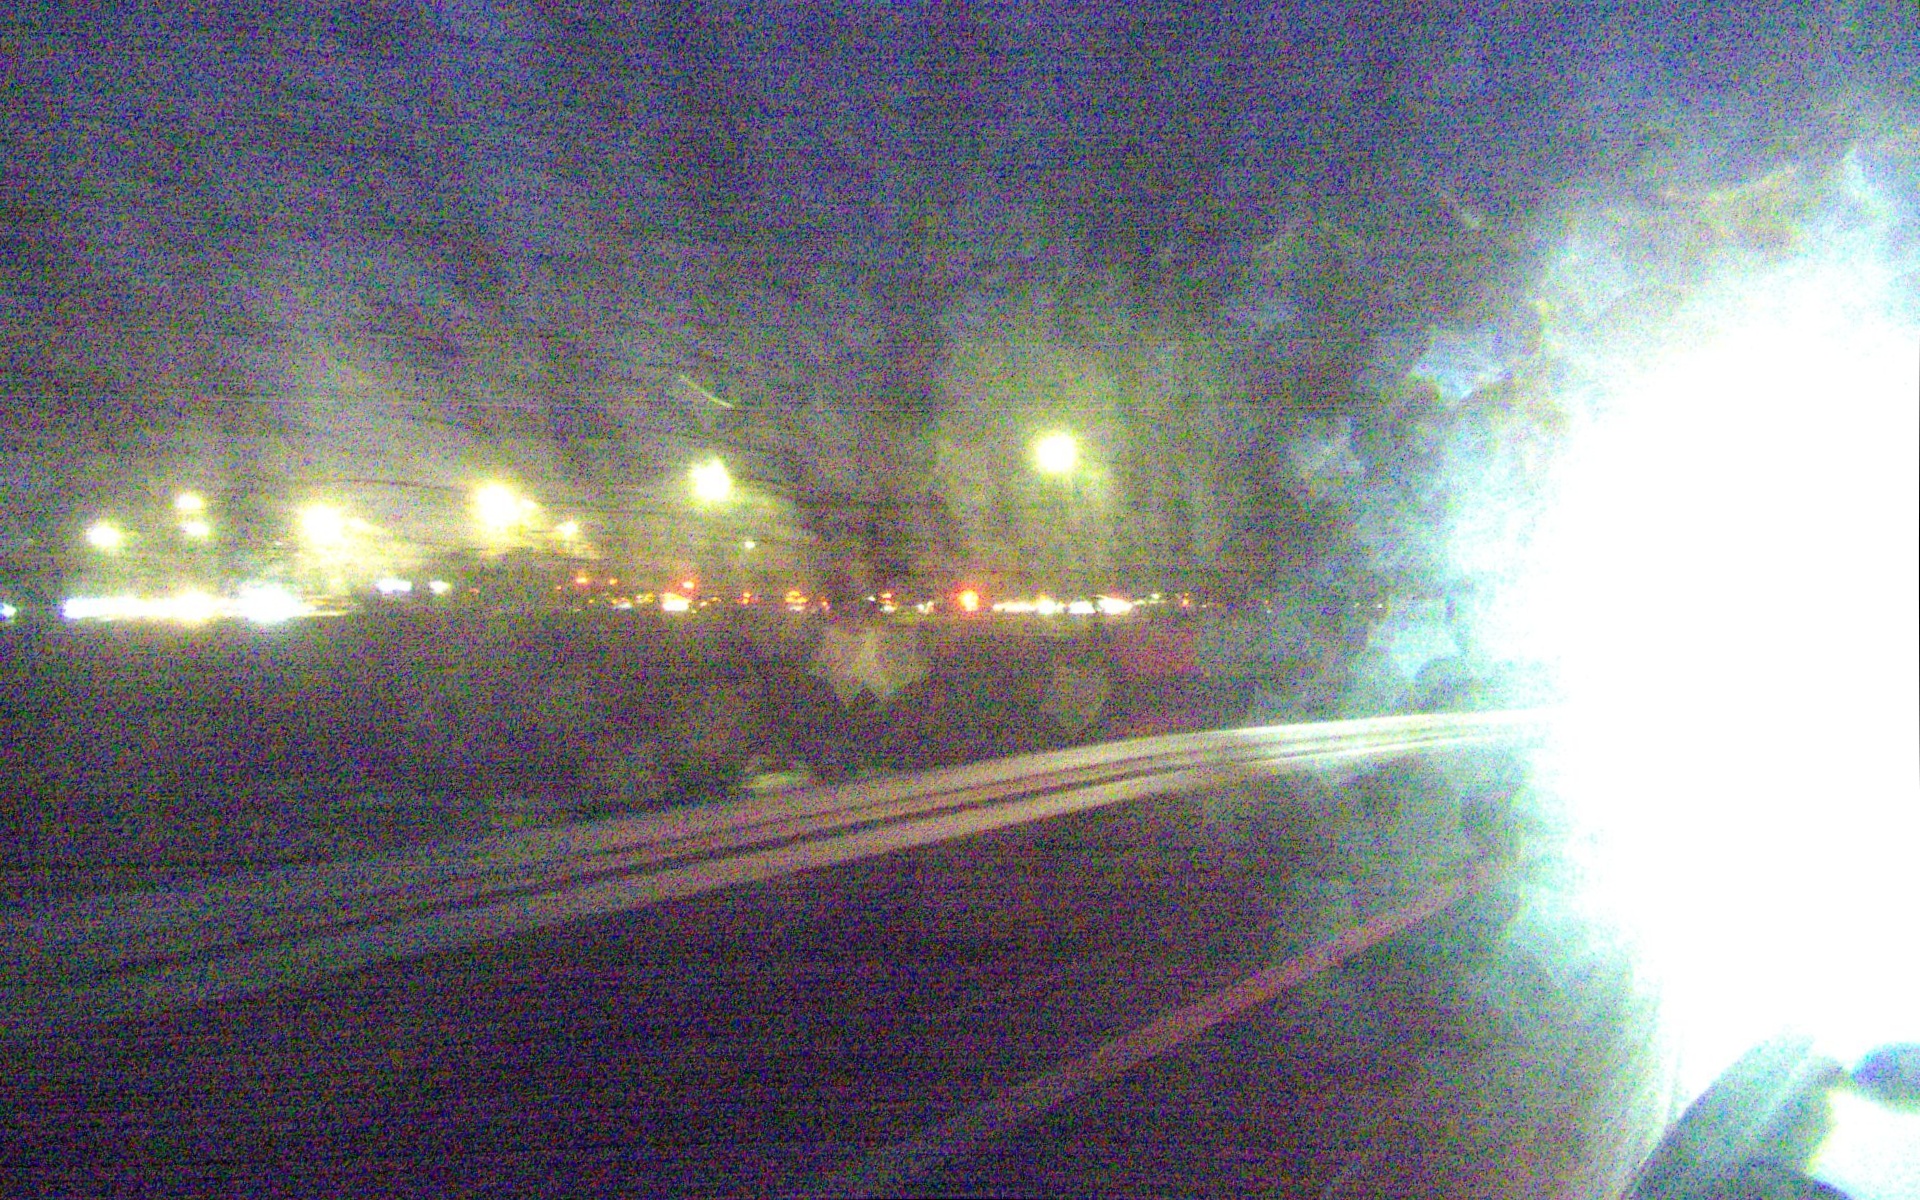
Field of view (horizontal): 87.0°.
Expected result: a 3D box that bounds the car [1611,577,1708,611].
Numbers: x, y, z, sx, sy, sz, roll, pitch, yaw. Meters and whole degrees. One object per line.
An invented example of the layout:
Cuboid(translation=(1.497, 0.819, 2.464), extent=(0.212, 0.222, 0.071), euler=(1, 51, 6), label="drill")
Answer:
Cuboid(translation=(36.382, -0.330, 52.735), extent=(3.969, 1.459, 1.699), euler=(4, 1, 31), label="car")

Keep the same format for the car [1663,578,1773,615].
Cuboid(translation=(36.350, -0.174, 48.645), extent=(3.969, 1.459, 1.699), euler=(4, 1, 31), label="car")

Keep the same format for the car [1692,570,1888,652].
Cuboid(translation=(19.590, 0.220, 24.145), extent=(1.970, 1.769, 4.084), euler=(0, 0, 13), label="car")
